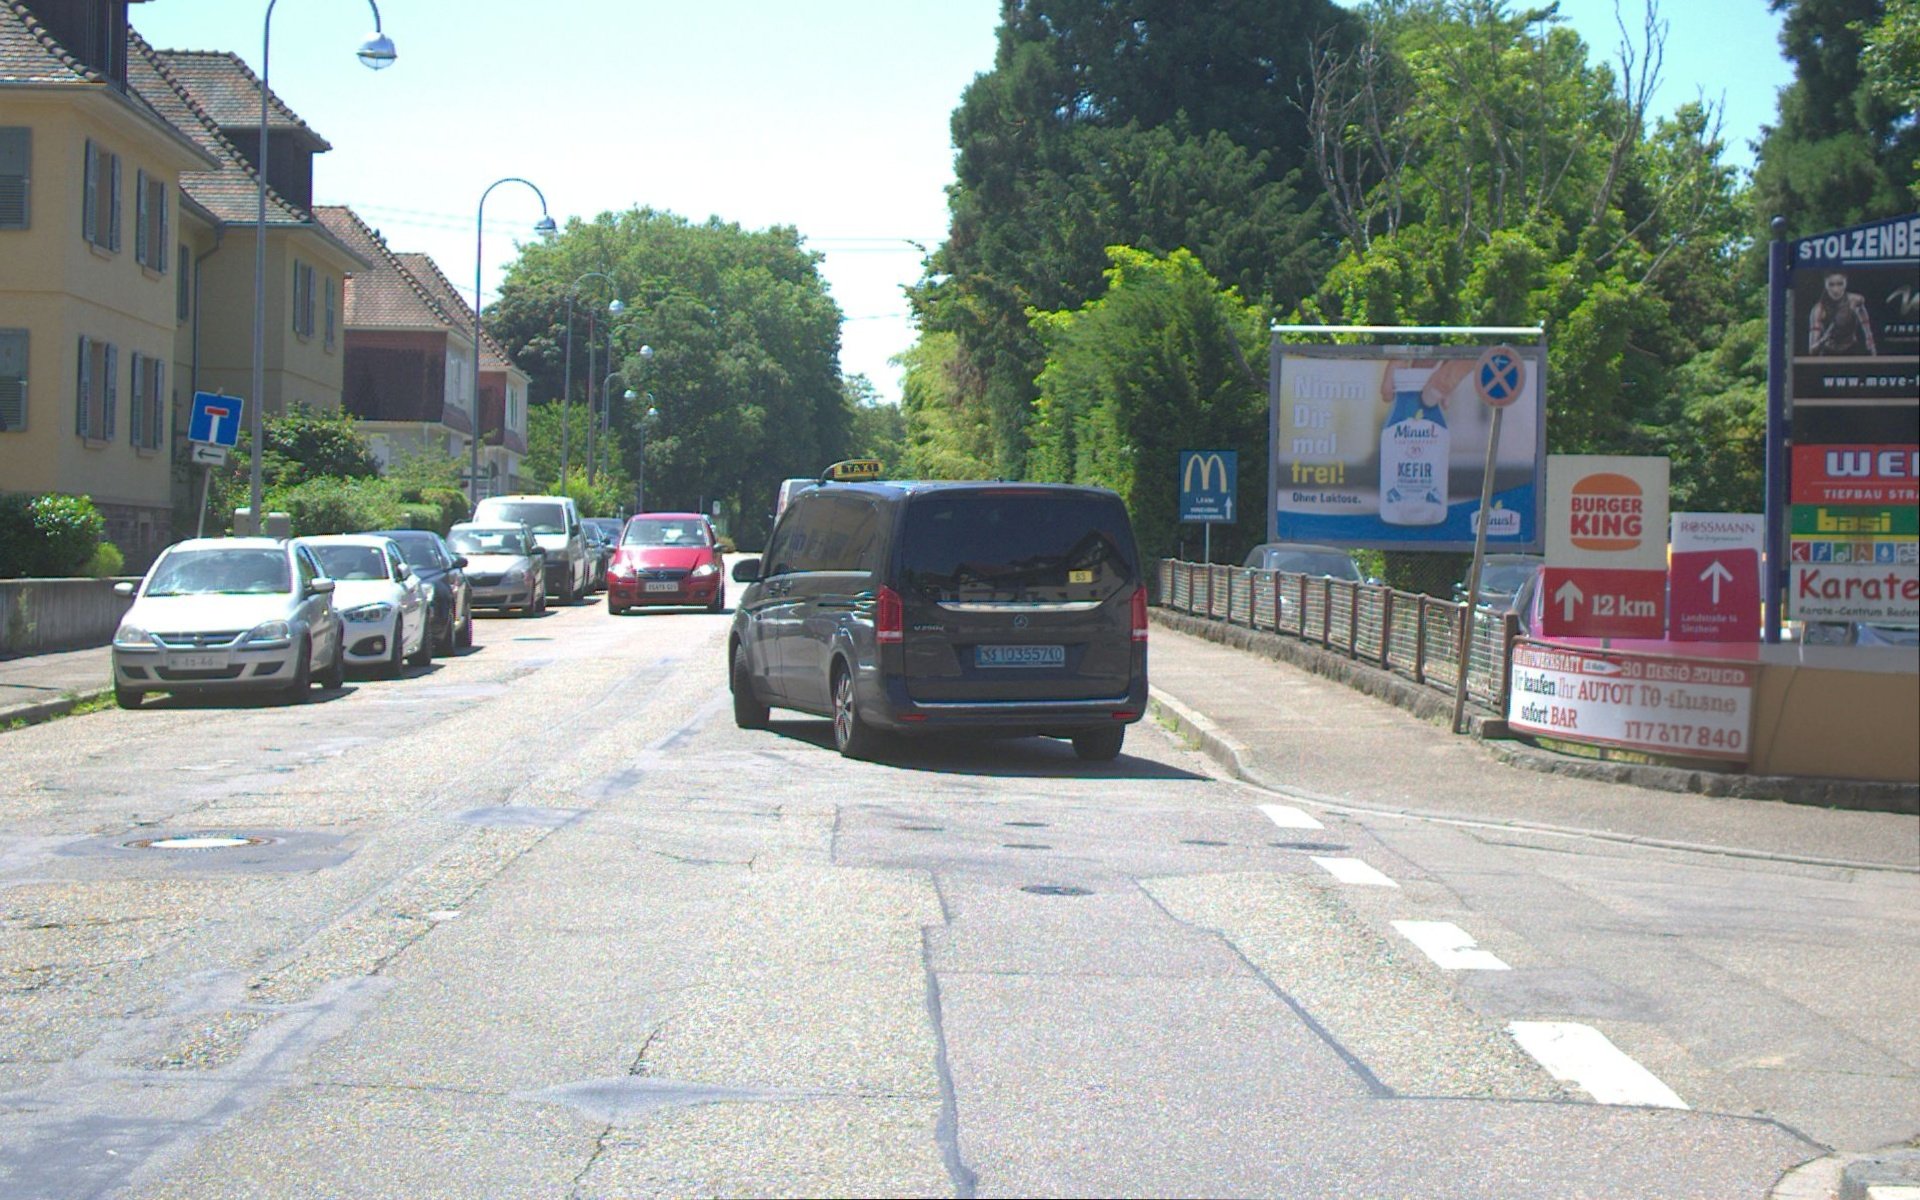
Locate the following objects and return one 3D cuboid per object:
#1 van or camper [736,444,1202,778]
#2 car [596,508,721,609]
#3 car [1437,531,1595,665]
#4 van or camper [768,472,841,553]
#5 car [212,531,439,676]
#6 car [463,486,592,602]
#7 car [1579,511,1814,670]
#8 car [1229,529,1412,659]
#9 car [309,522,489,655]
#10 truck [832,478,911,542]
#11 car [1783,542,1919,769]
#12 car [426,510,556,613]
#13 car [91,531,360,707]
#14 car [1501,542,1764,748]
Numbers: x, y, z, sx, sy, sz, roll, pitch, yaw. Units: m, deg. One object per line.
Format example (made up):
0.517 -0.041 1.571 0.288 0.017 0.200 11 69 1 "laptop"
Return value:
-0.095 -0.002 23.773 1.902 2.007 5.272 2 1 -14 "van or camper"
-4.833 -0.691 55.439 1.814 1.560 3.697 0 1 -2 "car"
7.175 -0.048 44.593 1.632 1.538 3.392 5 1 5 "car"
-5.011 -2.805 110.221 2.262 2.519 4.760 0 1 -3 "van or camper"
-6.510 -0.005 35.649 1.794 1.397 4.220 0 1 -3 "car"
-7.669 -1.036 61.311 1.878 1.956 4.626 -1 2 -2 "car"
9.353 -0.162 43.982 1.774 1.793 4.166 5 1 -3 "car"
4.607 -0.110 44.326 1.631 1.454 3.557 5 1 -4 "car"
-6.640 -0.169 41.017 1.715 1.480 4.077 -1 1 -4 "car"
-3.239 -3.252 124.616 2.355 2.250 6.093 1 1 -6 "truck"
7.755 0.408 27.668 1.712 1.659 4.458 3 1 8 "car"
-7.425 -0.643 54.716 1.686 1.520 4.063 1 2 -3 "car"
-6.475 0.118 30.687 1.759 1.442 3.925 0 1 -3 "car"
5.401 0.306 27.986 1.712 1.518 3.839 1 1 6 "car"
